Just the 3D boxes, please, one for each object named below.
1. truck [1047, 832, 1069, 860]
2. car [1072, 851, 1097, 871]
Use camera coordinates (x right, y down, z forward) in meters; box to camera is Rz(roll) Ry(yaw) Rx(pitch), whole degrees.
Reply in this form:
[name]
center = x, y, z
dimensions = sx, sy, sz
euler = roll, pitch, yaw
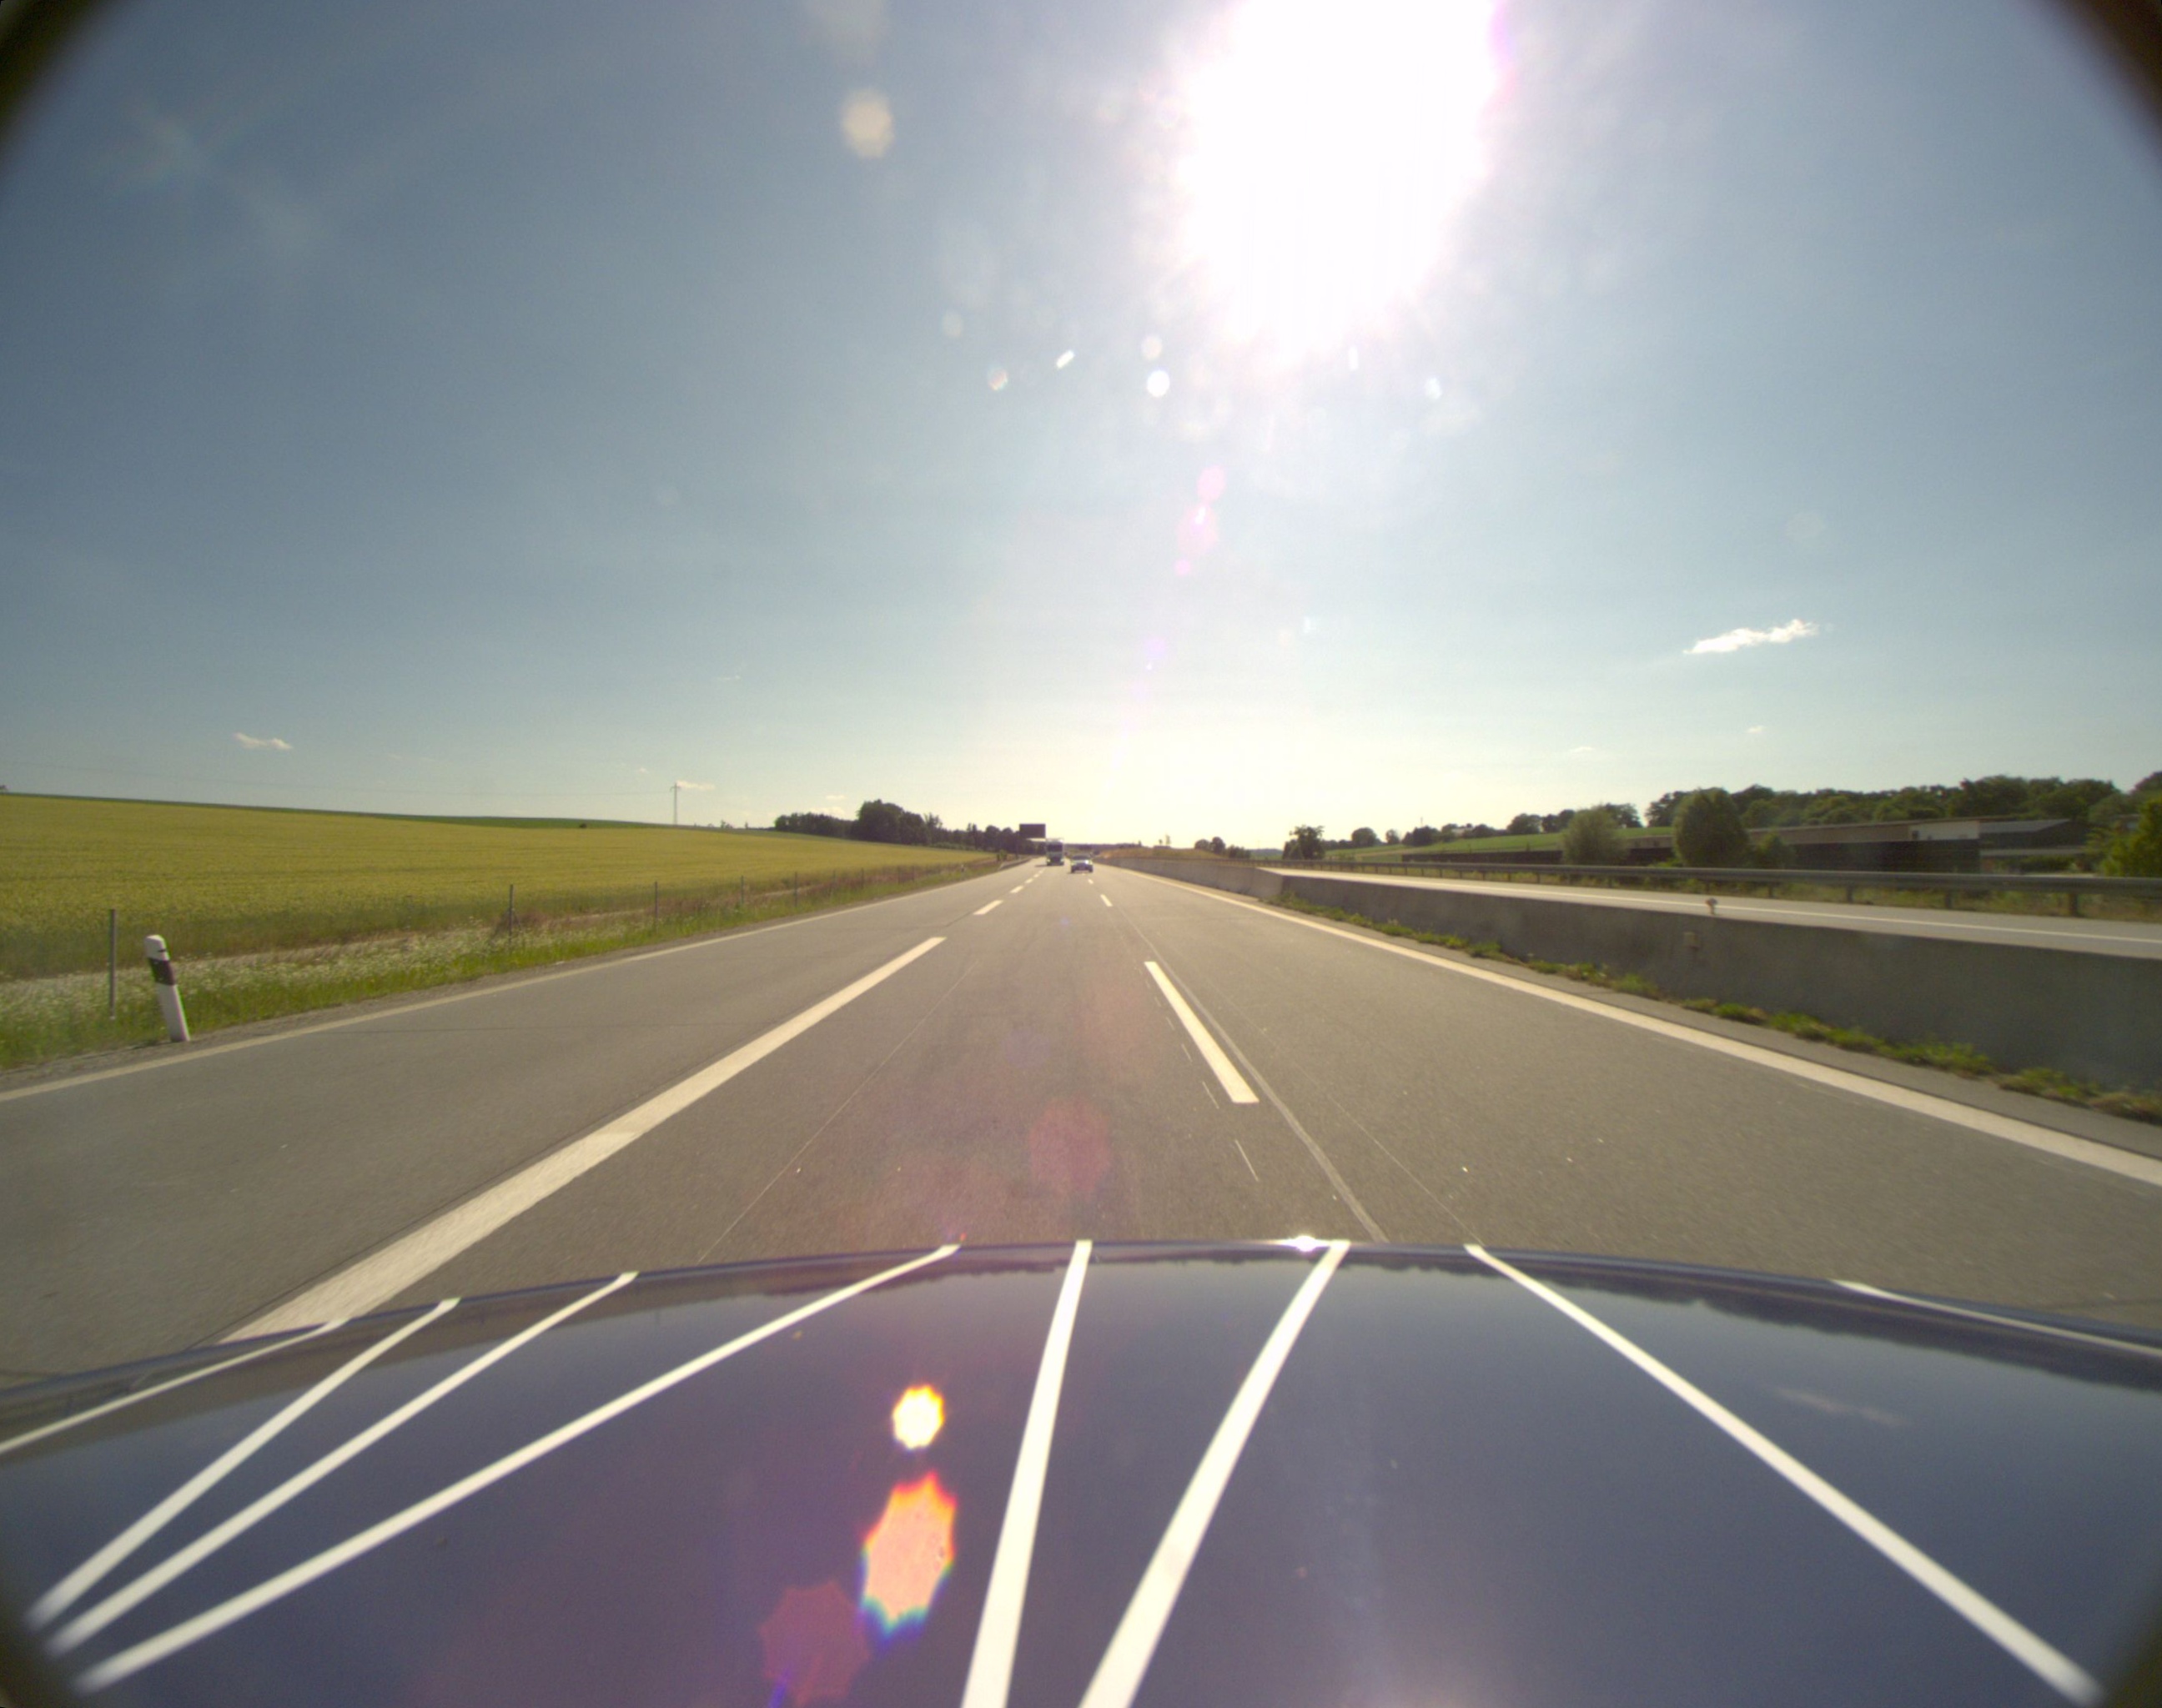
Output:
[truck]
center = -3.384, -1.159, 110.506
dimensions = 3.091, 3.991, 6.187
euler = 0, 0, -2
[car]
center = 0.354, 0.568, 64.724
dimensions = 1.891, 1.565, 3.792
euler = -3, 0, 3
